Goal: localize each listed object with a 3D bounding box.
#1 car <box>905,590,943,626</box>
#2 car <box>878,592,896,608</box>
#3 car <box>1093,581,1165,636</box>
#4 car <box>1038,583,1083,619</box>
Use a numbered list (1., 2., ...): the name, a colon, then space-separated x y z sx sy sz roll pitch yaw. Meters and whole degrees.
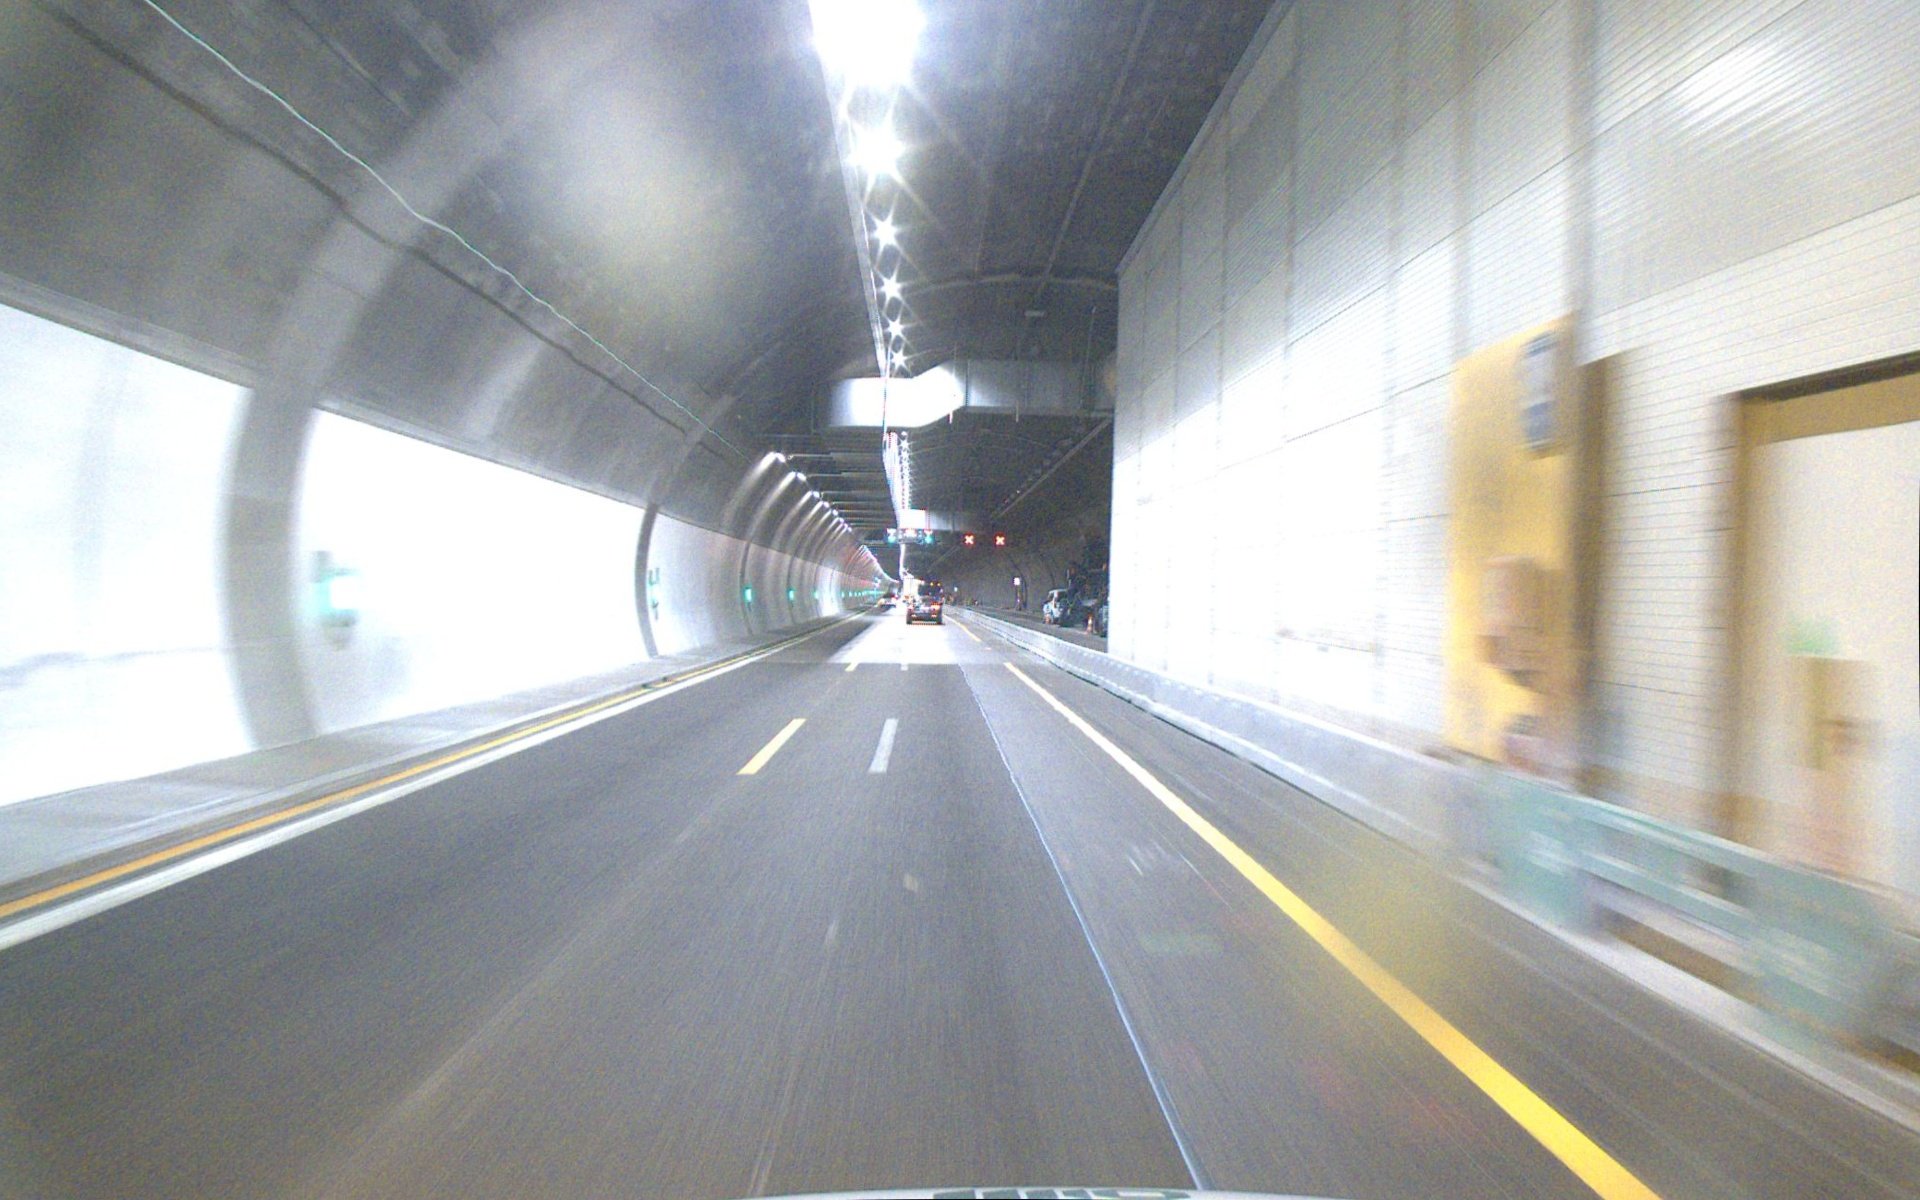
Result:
1. car: -1.893 0.385 85.862 1.908 1.826 3.998 0 0 -2
2. car: -7.940 0.007 180.220 1.891 1.716 3.999 0 0 -2
3. car: 6.084 0.273 60.232 1.791 1.891 5.438 1 0 -3
4. car: 5.445 0.060 90.087 1.717 1.877 4.639 -1 0 -6
